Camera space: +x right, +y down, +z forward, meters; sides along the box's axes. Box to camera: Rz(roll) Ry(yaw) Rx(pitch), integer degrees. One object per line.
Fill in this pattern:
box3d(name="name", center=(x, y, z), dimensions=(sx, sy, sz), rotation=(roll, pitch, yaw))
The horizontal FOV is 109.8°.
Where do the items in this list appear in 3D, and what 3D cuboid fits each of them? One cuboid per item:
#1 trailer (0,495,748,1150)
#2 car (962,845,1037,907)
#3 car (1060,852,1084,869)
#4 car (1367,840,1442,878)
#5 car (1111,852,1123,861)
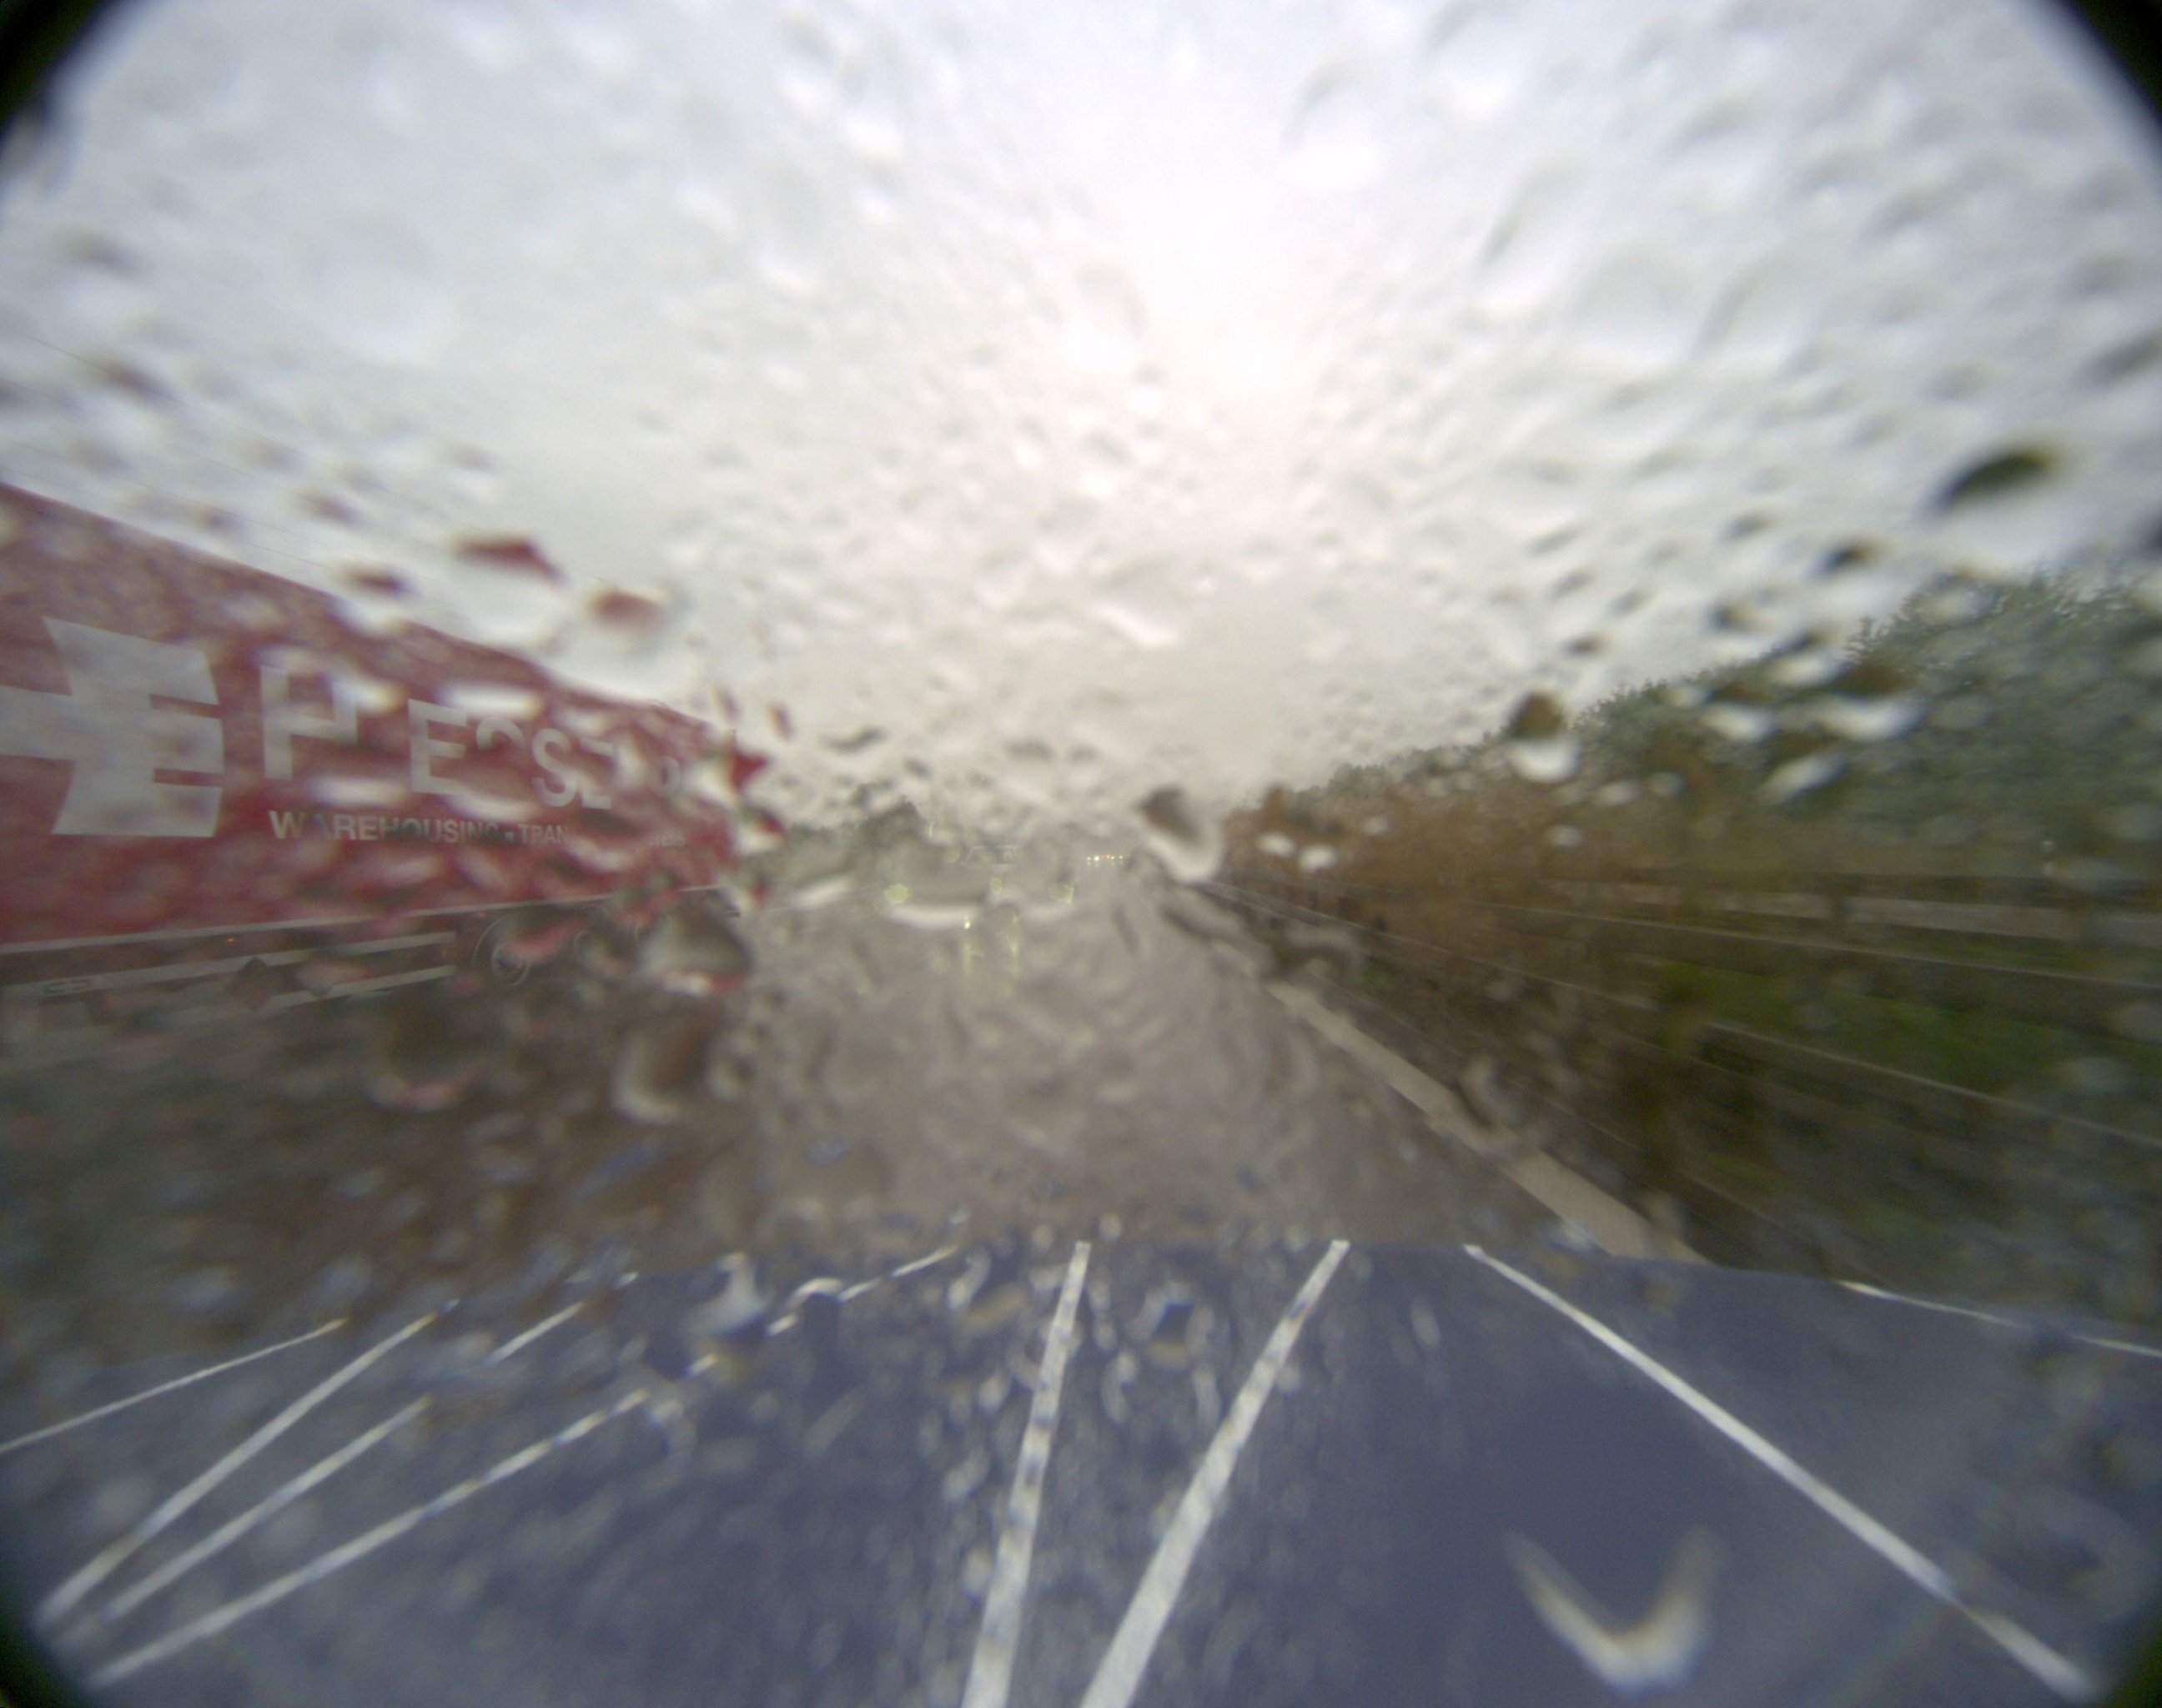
box3d(name="trailer", center=(-7.744, -0.187, 7.447), dimensions=(2.627, 3.932, 13.629), rotation=(-2, 0, 1))
box3d(name="car", center=(-2.811, 0.712, 27.303), dimensions=(1.892, 1.873, 5.009), rotation=(-5, 0, 2))
box3d(name="car", center=(-0.825, 0.603, 74.751), dimensions=(1.768, 1.448, 3.961), rotation=(-4, 0, 6))
box3d(name="car", center=(13.432, 0.175, 31.786), dimensions=(1.427, 1.448, 4.128), rotation=(-2, 0, 1))
box3d(name="car", center=(6.484, 0.373, 138.251), dimensions=(1.768, 1.448, 3.961), rotation=(-4, 0, 7))
